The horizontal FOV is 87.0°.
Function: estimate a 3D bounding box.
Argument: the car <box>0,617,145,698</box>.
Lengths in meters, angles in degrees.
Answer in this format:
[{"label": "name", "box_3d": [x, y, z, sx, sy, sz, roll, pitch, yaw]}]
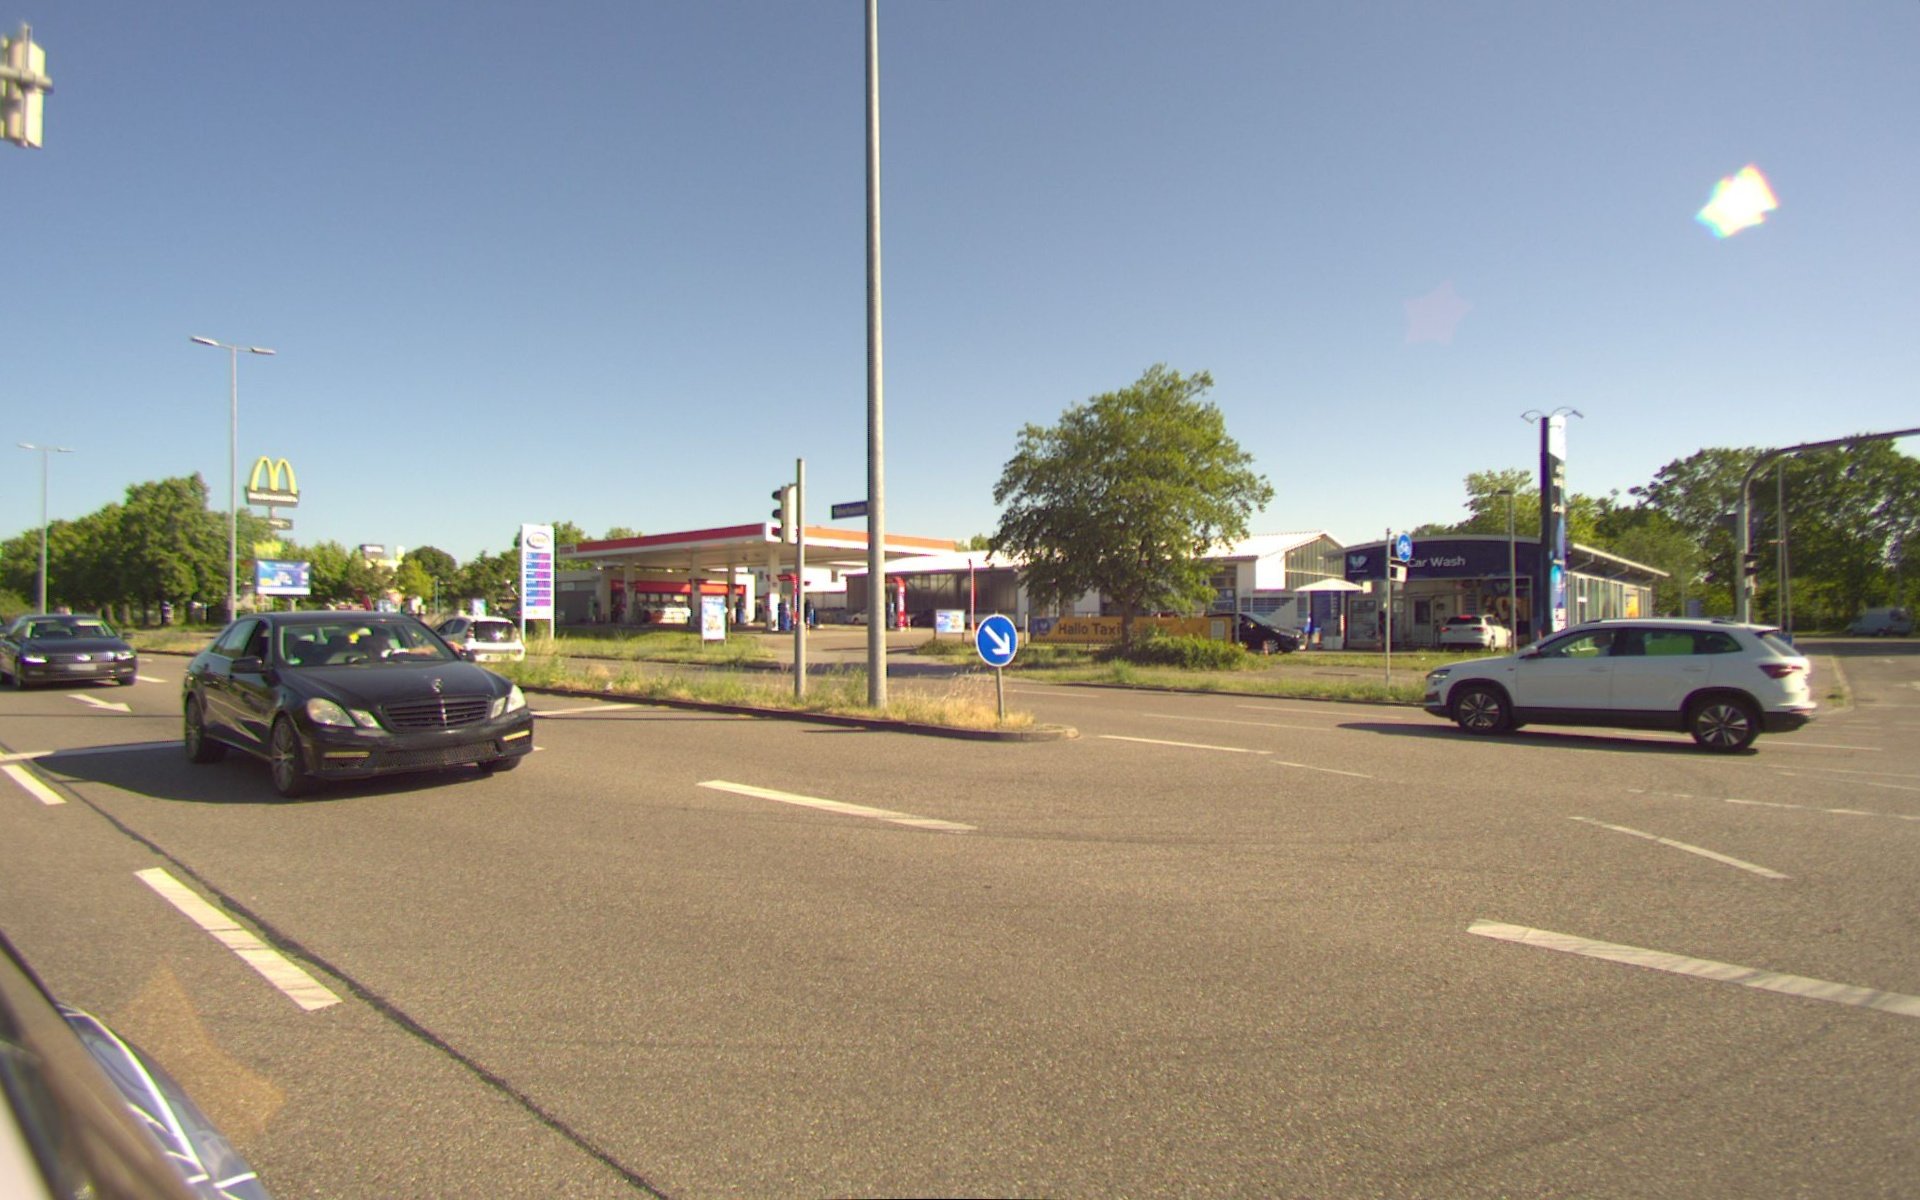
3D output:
[{"label": "car", "box_3d": [-18.238, 1.094, 20.664, 4.264, 1.464, 1.824, -1, -1, 42]}]

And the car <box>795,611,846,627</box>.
[{"label": "car", "box_3d": [-11.445, 1.527, 83.045, 4.116, 1.236, 1.876, 0, -3, 40]}]

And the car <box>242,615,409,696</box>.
[{"label": "car", "box_3d": [-12.840, 1.043, 20.380, 4.115, 1.466, 1.767, -1, -2, 42]}]

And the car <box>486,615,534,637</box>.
[{"label": "car", "box_3d": [-34.941, 2.022, 78.575, 4.116, 1.625, 1.740, 0, -3, 40]}]

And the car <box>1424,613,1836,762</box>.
[{"label": "car", "box_3d": [8.566, 1.009, 13.167, 4.265, 1.612, 1.875, -1, -3, 42]}]

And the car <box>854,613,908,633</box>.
[{"label": "car", "box_3d": [-6.092, 1.781, 78.004, 4.116, 1.451, 1.750, -1, -2, 40]}]

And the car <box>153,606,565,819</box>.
[{"label": "car", "box_3d": [-5.816, 0.827, 9.494, 4.916, 1.494, 1.938, -1, -1, 42]}]

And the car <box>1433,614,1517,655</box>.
[{"label": "car", "box_3d": [19.316, 1.297, 37.912, 1.900, 1.443, 4.063, -1, -3, 41]}]

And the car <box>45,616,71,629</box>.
[{"label": "car", "box_3d": [-102.357, 2.546, 114.797, 4.457, 1.443, 1.677, -1, -3, 42]}]

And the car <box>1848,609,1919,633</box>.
[{"label": "car", "box_3d": [73.472, 1.667, 80.346, 2.077, 1.813, 4.775, 1, -2, 8]}]

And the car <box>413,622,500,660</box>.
[{"label": "car", "box_3d": [-20.999, 1.687, 42.135, 4.457, 1.443, 1.677, -1, -3, 42]}]

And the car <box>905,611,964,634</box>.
[{"label": "car", "box_3d": [-1.863, 1.635, 74.442, 4.116, 1.603, 1.876, -1, -3, 40]}]

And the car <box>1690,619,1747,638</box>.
[{"label": "car", "box_3d": [76.413, 2.862, 102.057, 2.072, 1.813, 4.786, 1, -2, 0]}]

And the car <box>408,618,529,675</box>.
[{"label": "car", "box_3d": [-13.474, 1.240, 27.655, 3.663, 1.443, 1.677, -1, -3, 42]}]

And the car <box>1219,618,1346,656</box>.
[{"label": "car", "box_3d": [11.938, 1.359, 37.601, 4.116, 1.335, 1.876, 0, -3, 40]}]

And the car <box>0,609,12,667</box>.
[{"label": "car", "box_3d": [-30.731, 1.157, 31.037, 4.694, 1.696, 1.973, -1, 0, 41]}]
